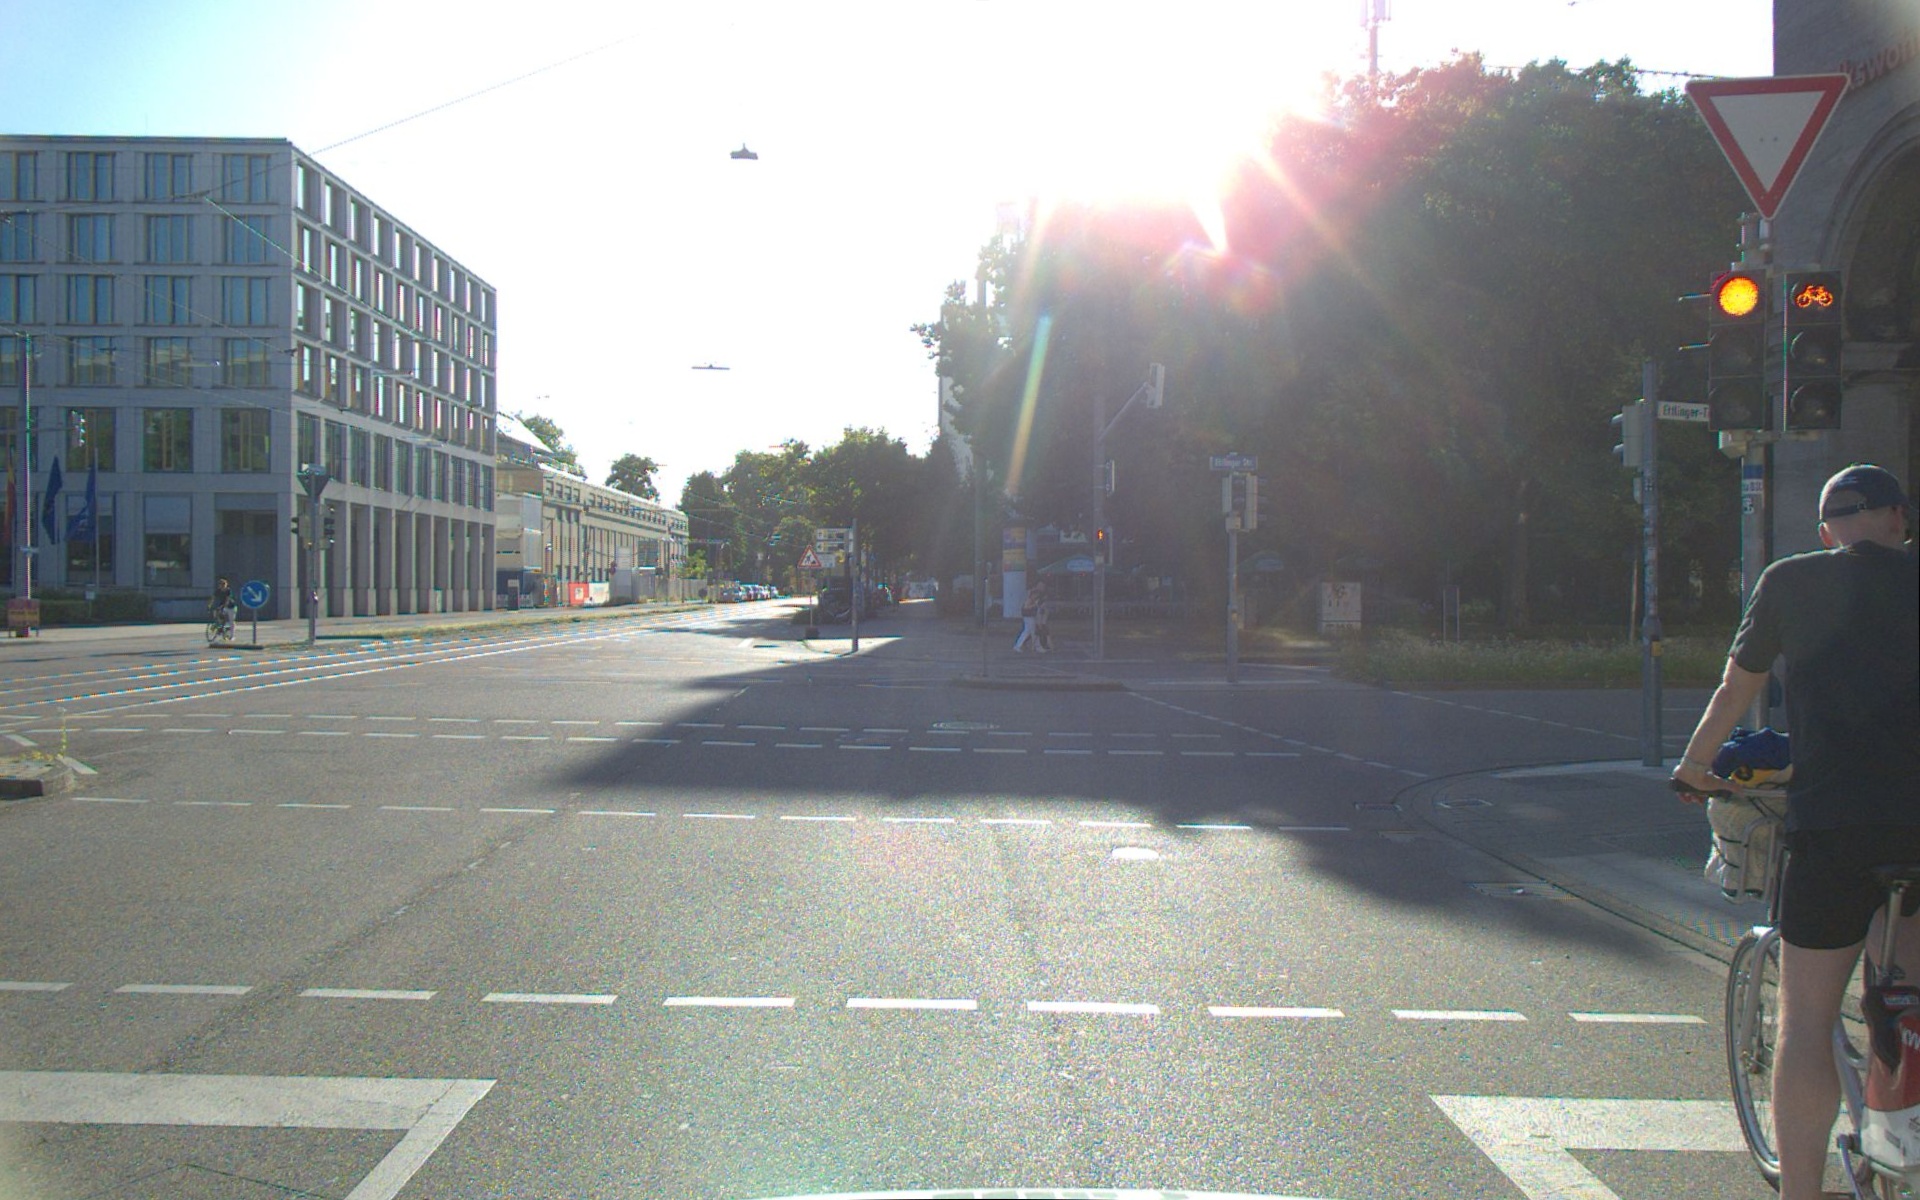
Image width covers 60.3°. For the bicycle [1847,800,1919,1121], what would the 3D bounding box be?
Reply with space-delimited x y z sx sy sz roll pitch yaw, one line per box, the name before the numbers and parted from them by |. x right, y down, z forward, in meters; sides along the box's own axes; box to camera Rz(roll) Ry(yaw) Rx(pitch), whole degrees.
bicycle | 3.003 1.085 4.285 0.418 0.891 1.951 0 0 2

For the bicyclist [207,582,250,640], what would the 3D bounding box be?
bicyclist | -21.077 0.311 47.662 0.857 1.670 0.822 0 0 0

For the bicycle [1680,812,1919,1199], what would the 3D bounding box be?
bicycle | 2.208 1.096 3.935 0.381 0.921 1.952 0 0 8

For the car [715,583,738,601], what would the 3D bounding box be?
car | -22.574 -0.797 159.775 1.695 1.682 3.999 0 0 -1

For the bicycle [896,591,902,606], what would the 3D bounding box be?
bicycle | -3.605 -0.081 98.518 0.317 0.883 1.483 0 0 -1

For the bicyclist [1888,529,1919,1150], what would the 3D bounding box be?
bicyclist | 2.883 0.661 4.266 0.511 1.709 0.859 0 0 2

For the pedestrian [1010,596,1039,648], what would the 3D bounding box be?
pedestrian | 1.689 0.572 43.615 0.737 1.356 0.742 0 0 0

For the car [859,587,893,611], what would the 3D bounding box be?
car | -4.545 -0.060 89.457 1.783 1.301 3.998 0 0 -3

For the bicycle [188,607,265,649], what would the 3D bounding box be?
bicycle | -21.088 0.782 47.611 0.857 1.140 3.013 0 0 0

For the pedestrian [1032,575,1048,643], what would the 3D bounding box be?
pedestrian | 2.178 0.254 44.894 0.353 1.836 0.507 0 0 11

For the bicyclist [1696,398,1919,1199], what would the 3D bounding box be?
bicyclist | 2.125 0.429 3.762 0.655 1.707 0.657 0 0 8

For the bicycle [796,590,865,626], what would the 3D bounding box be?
bicycle | -5.233 0.327 67.058 2.688 1.391 0.631 1 -1 10

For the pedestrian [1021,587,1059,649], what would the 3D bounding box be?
pedestrian | 2.093 0.479 43.392 0.964 1.615 0.660 0 -1 1

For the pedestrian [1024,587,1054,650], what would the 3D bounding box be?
pedestrian | 2.123 0.484 44.305 0.779 1.668 0.533 0 0 2

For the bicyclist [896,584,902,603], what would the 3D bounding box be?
bicyclist | -3.625 -0.387 98.333 0.311 1.147 0.291 0 0 2

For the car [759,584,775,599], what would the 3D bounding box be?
car | -22.665 -1.000 194.292 1.453 1.780 3.999 0 0 -1

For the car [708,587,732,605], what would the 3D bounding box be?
car | -22.525 -0.399 155.539 1.695 1.682 3.999 0 0 -1
